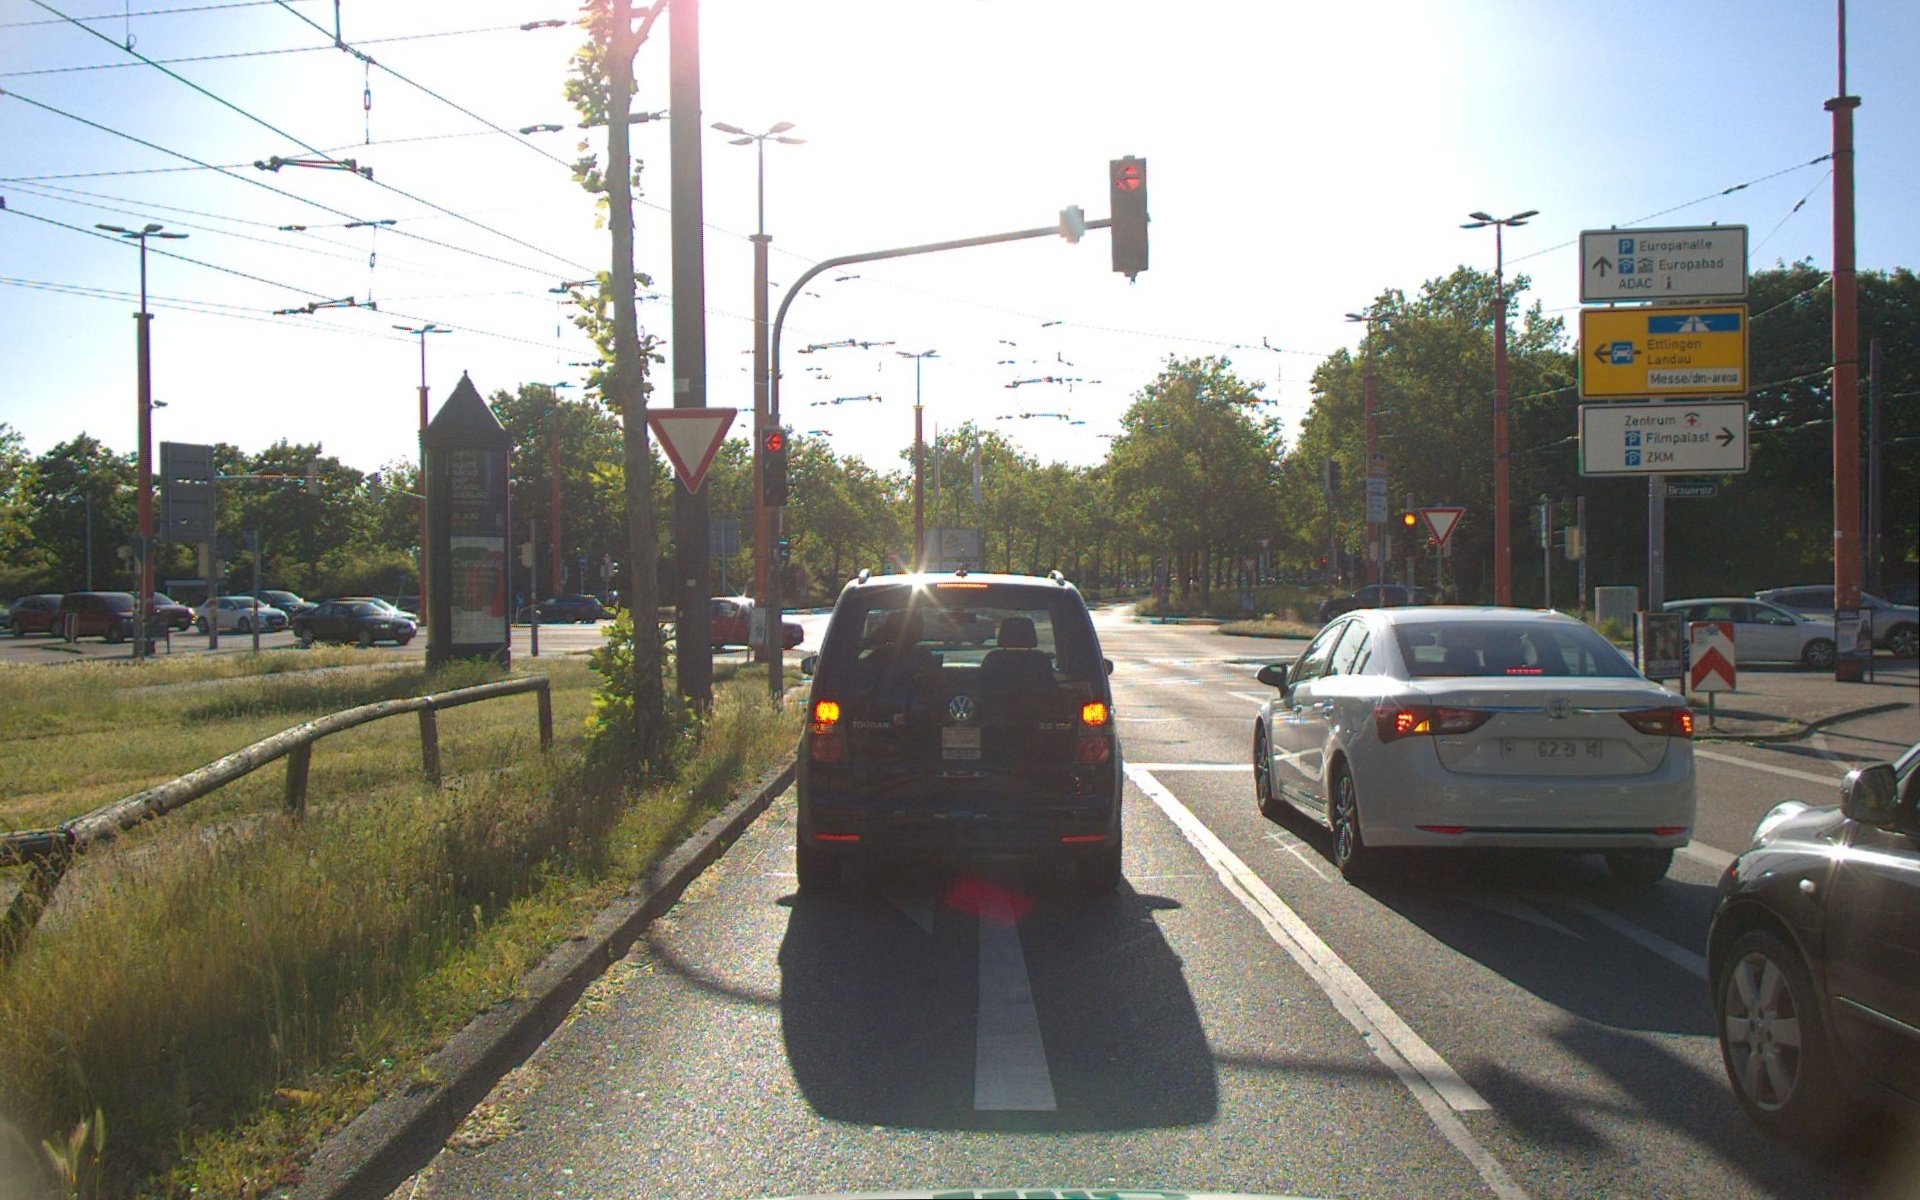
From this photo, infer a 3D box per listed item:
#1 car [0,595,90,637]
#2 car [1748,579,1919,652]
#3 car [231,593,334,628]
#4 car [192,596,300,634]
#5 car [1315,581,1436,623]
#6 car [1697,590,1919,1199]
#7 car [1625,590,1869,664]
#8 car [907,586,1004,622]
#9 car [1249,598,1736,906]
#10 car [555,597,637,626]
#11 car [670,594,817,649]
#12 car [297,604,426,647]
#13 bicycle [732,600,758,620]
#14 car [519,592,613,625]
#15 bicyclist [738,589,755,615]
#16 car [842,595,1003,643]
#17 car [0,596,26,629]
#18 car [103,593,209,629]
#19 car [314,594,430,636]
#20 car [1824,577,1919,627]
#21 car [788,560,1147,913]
[{"bbox_3d":[-38.175,0.644,68.283,4.463,1.697,1.840,0,0,28],"label":"car"},{"bbox_3d":[20.324,0.338,37.611,4.268,1.609,1.769,0,0,28],"label":"car"},{"bbox_3d":[-29.265,0.446,71.401,4.127,1.489,1.912,0,0,27],"label":"car"},{"bbox_3d":[-29.345,0.601,67.993,4.127,1.489,1.912,0,0,27],"label":"car"},{"bbox_3d":[16.484,0.062,65.571,4.365,1.624,1.998,0,0,26],"label":"car"},{"bbox_3d":[3.129,0.740,3.511,1.525,1.532,3.515,0,0,-1],"label":"car"},{"bbox_3d":[17.009,0.560,35.798,4.665,1.521,1.768,0,0,29],"label":"car"},{"bbox_3d":[-0.196,0.176,74.265,3.909,1.608,1.998,0,0,27],"label":"car"},{"bbox_3d":[2.949,0.738,10.110,1.679,1.480,4.144,0,0,0],"label":"car"},{"bbox_3d":[-21.441,0.660,97.363,4.398,1.624,1.984,0,0,-26],"label":"car"},{"bbox_3d":[-6.243,0.596,47.735,3.909,1.521,1.769,0,0,27],"label":"car"},{"bbox_3d":[-19.989,0.831,55.226,4.224,1.350,1.758,0,0,30],"label":"car"},{"bbox_3d":[-12.231,0.568,94.221,0.719,1.109,1.962,0,0,18],"label":"bicycle"},{"bbox_3d":[-19.950,0.412,83.687,4.365,1.624,1.998,0,0,26],"label":"car"},{"bbox_3d":[-12.200,0.093,94.441,0.678,1.483,0.875,0,0,17],"label":"bicyclist"},{"bbox_3d":[-1.132,0.539,49.421,4.564,1.386,1.769,0,0,28],"label":"car"},{"bbox_3d":[-45.051,0.578,75.771,4.143,1.489,1.913,0,0,26],"label":"car"},{"bbox_3d":[-34.335,0.443,70.616,4.275,1.489,1.912,0,0,27],"label":"car"},{"bbox_3d":[-21.547,0.526,60.593,4.140,1.505,1.751,0,0,29],"label":"car"},{"bbox_3d":[31.211,0.061,54.941,4.365,1.624,1.998,0,0,26],"label":"car"},{"bbox_3d":[0.008,0.641,9.866,1.702,1.670,3.999,0,0,-1],"label":"car"}]
